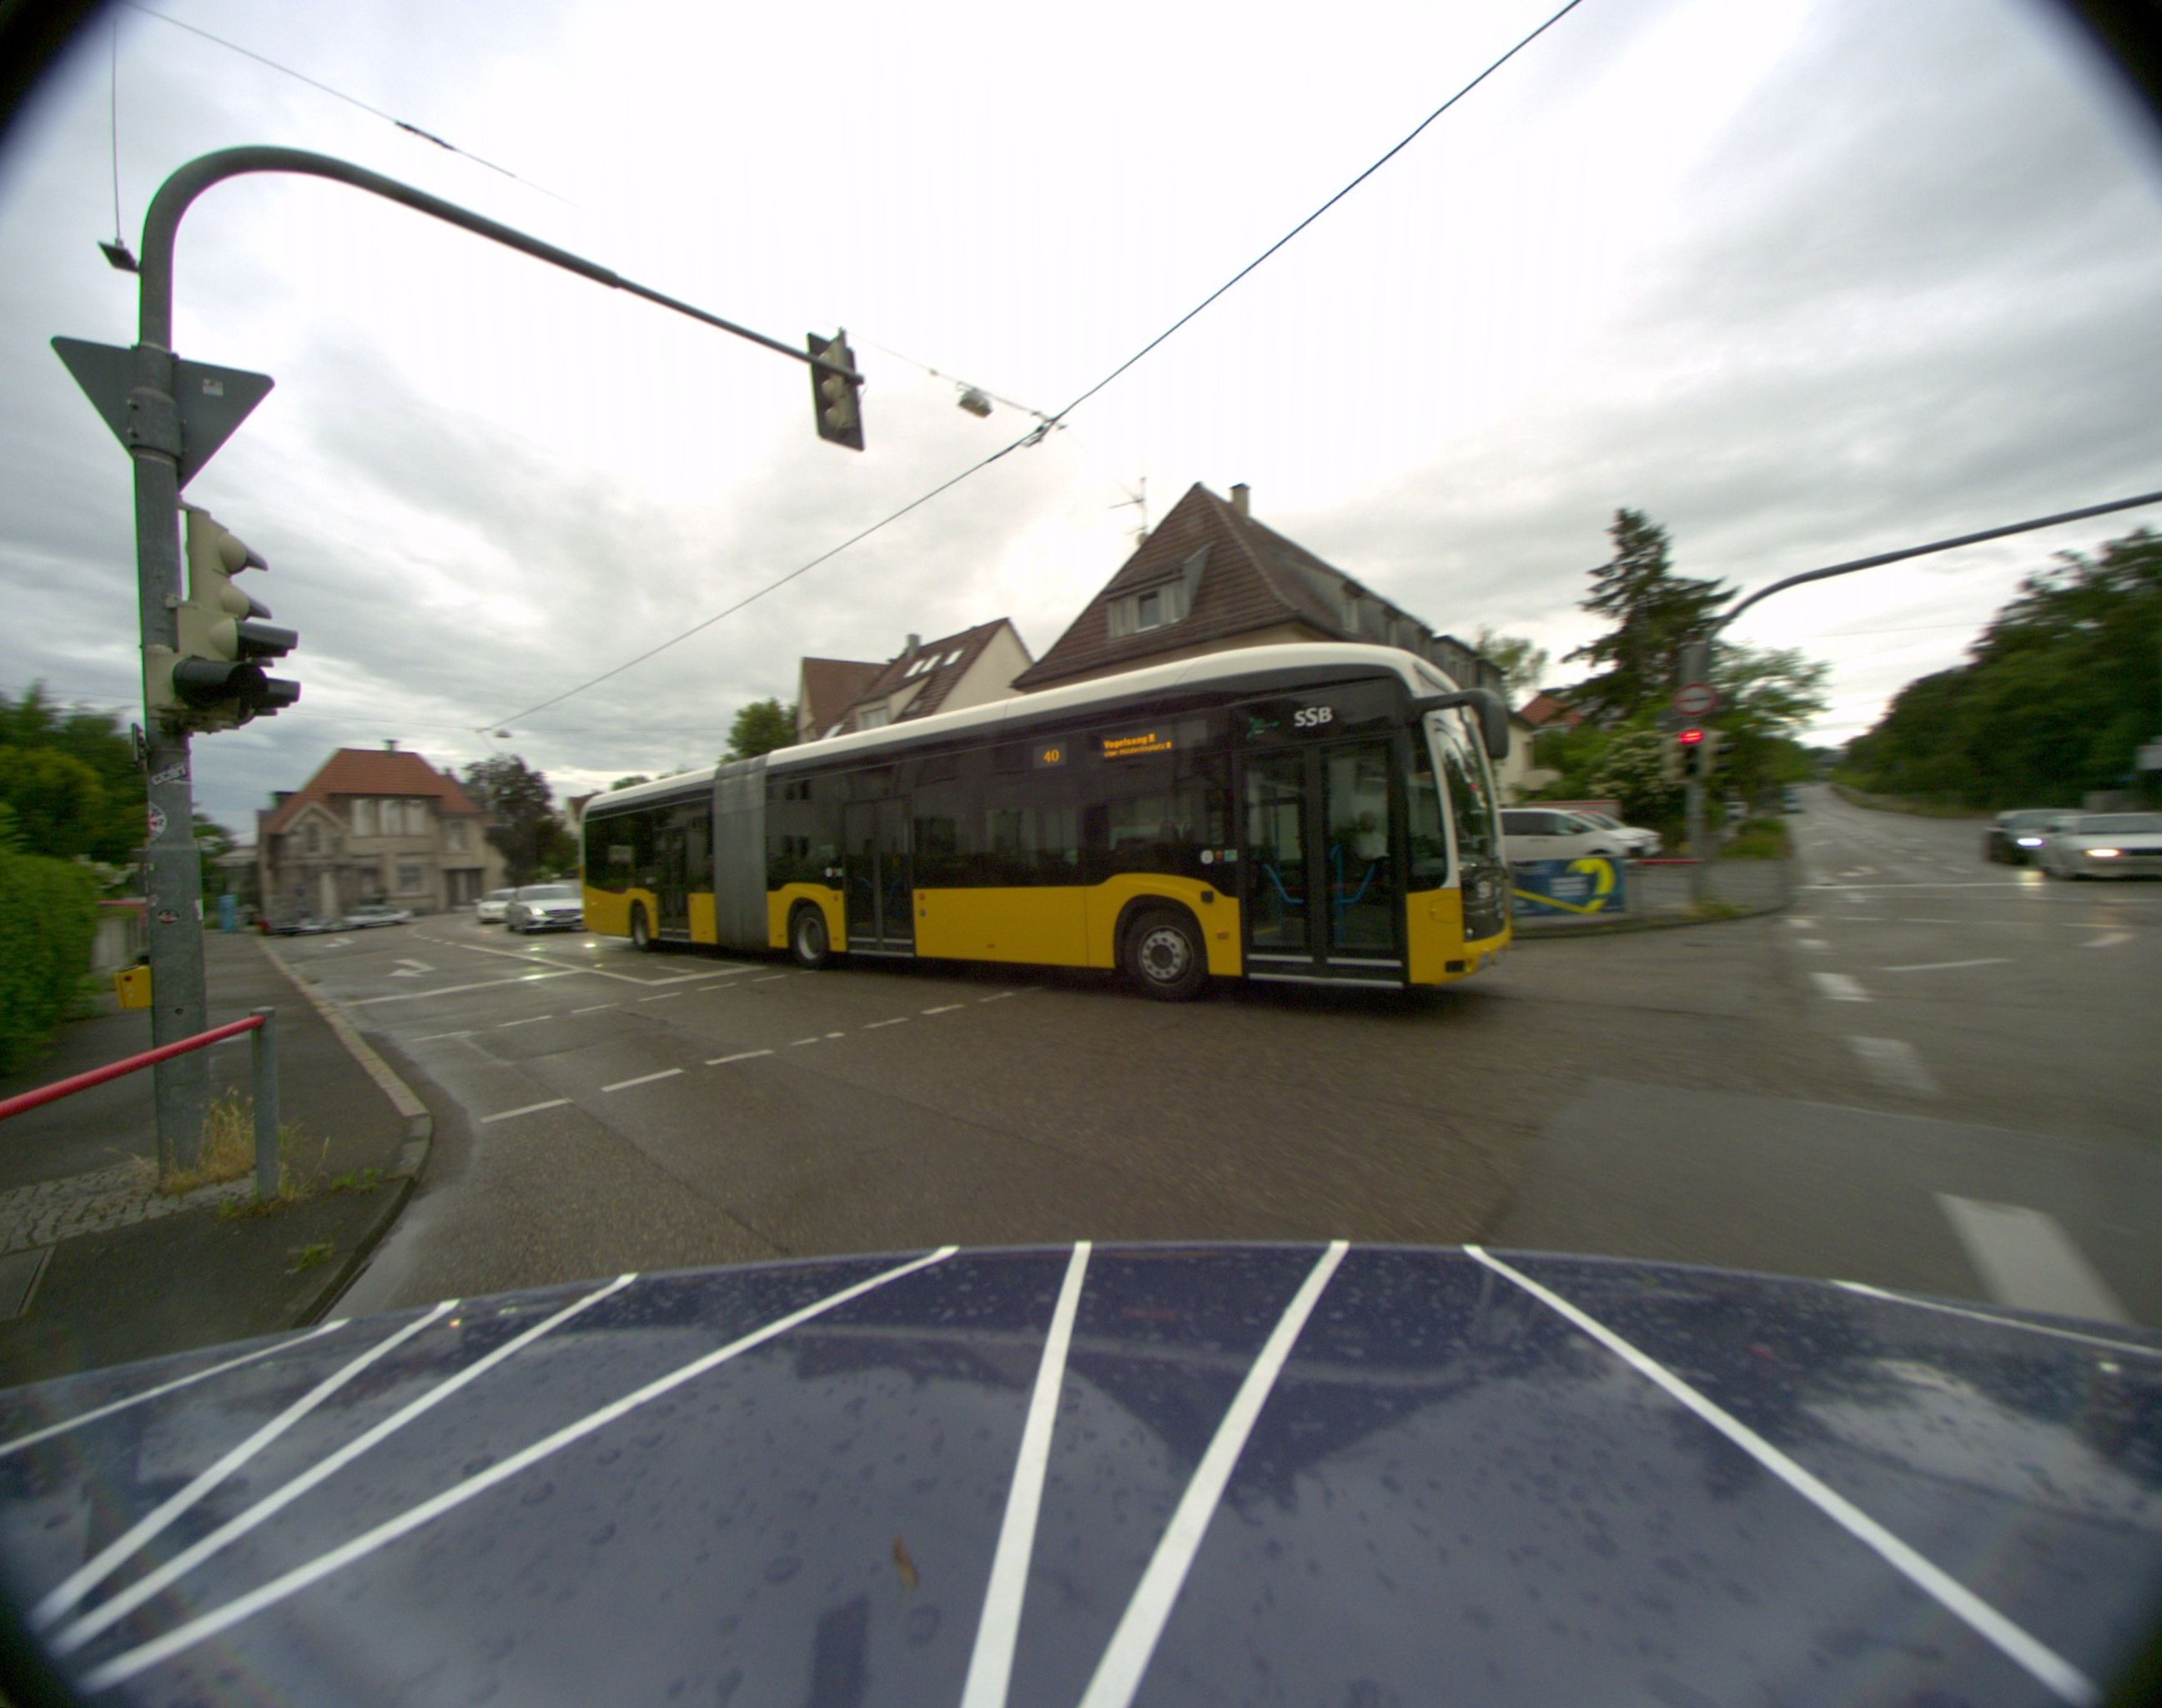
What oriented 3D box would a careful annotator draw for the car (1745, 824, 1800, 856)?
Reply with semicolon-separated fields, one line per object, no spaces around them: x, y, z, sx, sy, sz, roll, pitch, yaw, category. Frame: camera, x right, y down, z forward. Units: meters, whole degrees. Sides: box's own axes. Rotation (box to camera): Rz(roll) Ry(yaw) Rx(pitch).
35.879;-0.741;39.397;1.998;1.347;4.006;-1;3;44;car

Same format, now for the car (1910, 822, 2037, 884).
23.941;-0.064;20.524;1.820;1.347;4.006;-1;3;44;car

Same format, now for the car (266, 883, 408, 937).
-29.911;2.192;30.735;1.795;1.689;3.889;-4;2;-1;car

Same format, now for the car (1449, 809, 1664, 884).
14.322;-0.186;23.124;5.168;2.002;2.003;-2;2;45;car

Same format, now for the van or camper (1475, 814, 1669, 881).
16.483;-0.168;25.736;5.168;2.002;2.003;-2;2;45;van or camper

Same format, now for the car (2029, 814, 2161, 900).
20.585;-0.004;14.988;1.820;1.347;4.006;-1;3;44;car

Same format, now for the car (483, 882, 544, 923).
-23.354;1.952;31.207;1.735;1.470;4.030;-3;0;-40;car

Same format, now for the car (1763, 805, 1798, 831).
57.126;-2.974;62.057;1.998;1.870;4.006;-1;3;44;car

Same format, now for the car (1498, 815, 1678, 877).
18.542;-0.249;27.983;5.168;2.002;2.003;-2;2;45;car

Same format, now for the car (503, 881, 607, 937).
-16.494;1.665;23.729;2.004;1.470;4.474;-3;-1;-42;car

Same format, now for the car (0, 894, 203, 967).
-29.173;2.185;22.214;1.996;1.740;4.092;-3;-1;19;car

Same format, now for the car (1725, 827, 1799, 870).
26.282;-0.228;29.287;1.998;1.347;4.006;-1;3;44;car

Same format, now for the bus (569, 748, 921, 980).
-7.003;0.267;14.910;8.657;3.378;2.690;-3;0;41;bus

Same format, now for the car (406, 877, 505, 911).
-43.287;2.737;52.759;4.929;1.936;1.936;-3;1;-28;car

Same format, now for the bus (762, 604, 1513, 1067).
-0.067;0.001;9.433;9.016;3.378;2.914;-3;0;37;bus

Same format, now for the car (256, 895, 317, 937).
-33.879;2.608;32.457;3.531;1.529;1.619;-3;2;44;car
